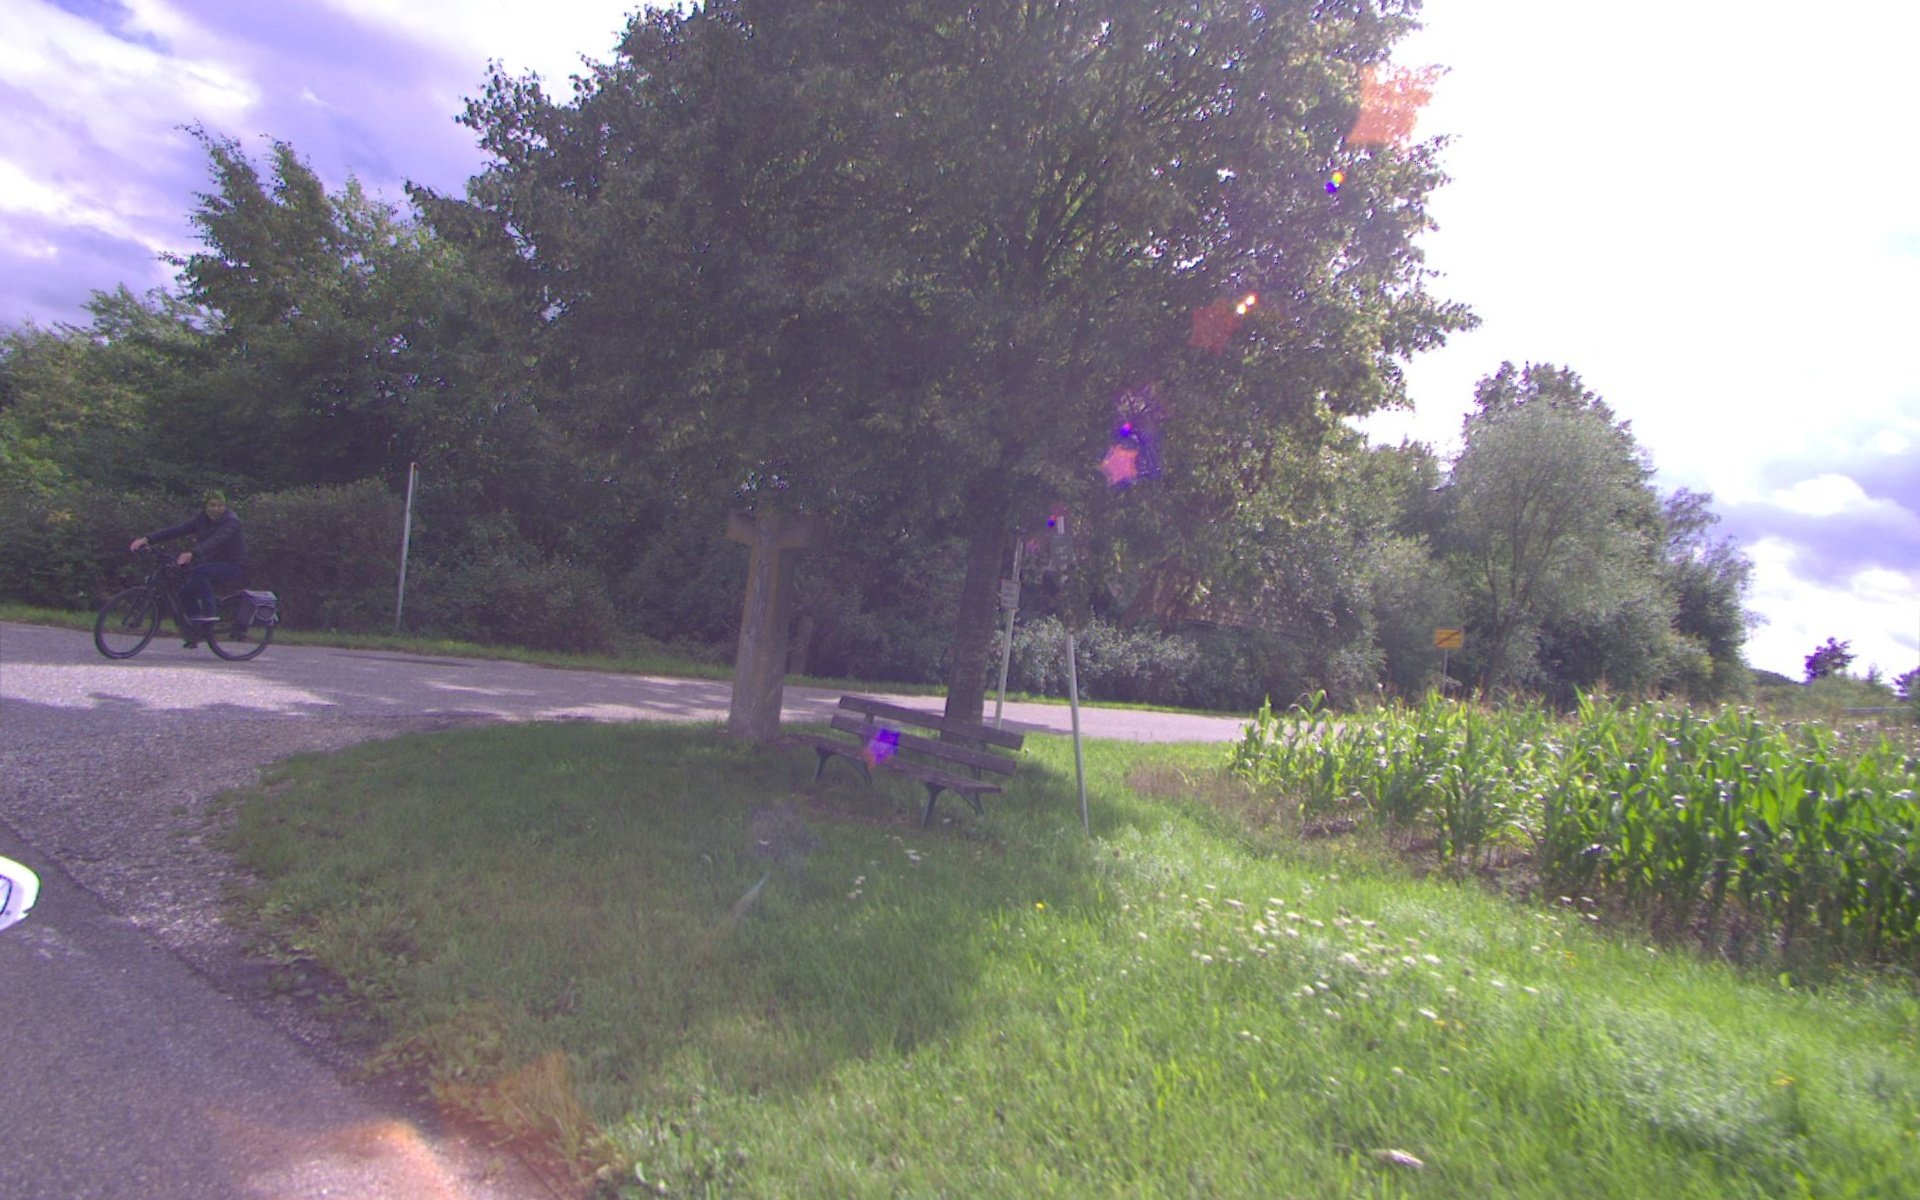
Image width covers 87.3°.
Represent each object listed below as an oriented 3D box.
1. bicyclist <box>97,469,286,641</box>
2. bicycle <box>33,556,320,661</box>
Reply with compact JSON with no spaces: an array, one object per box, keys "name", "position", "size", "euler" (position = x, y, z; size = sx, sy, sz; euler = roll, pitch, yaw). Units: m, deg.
[{"name":"bicyclist","position":[-8.119,-0.449,10.665],"size":[1.034,1.603,1.021],"euler":[8,-1,18]},{"name":"bicycle","position":[-8.198,0.137,10.679],"size":[1.034,0.874,2.124],"euler":[8,-1,18]}]
